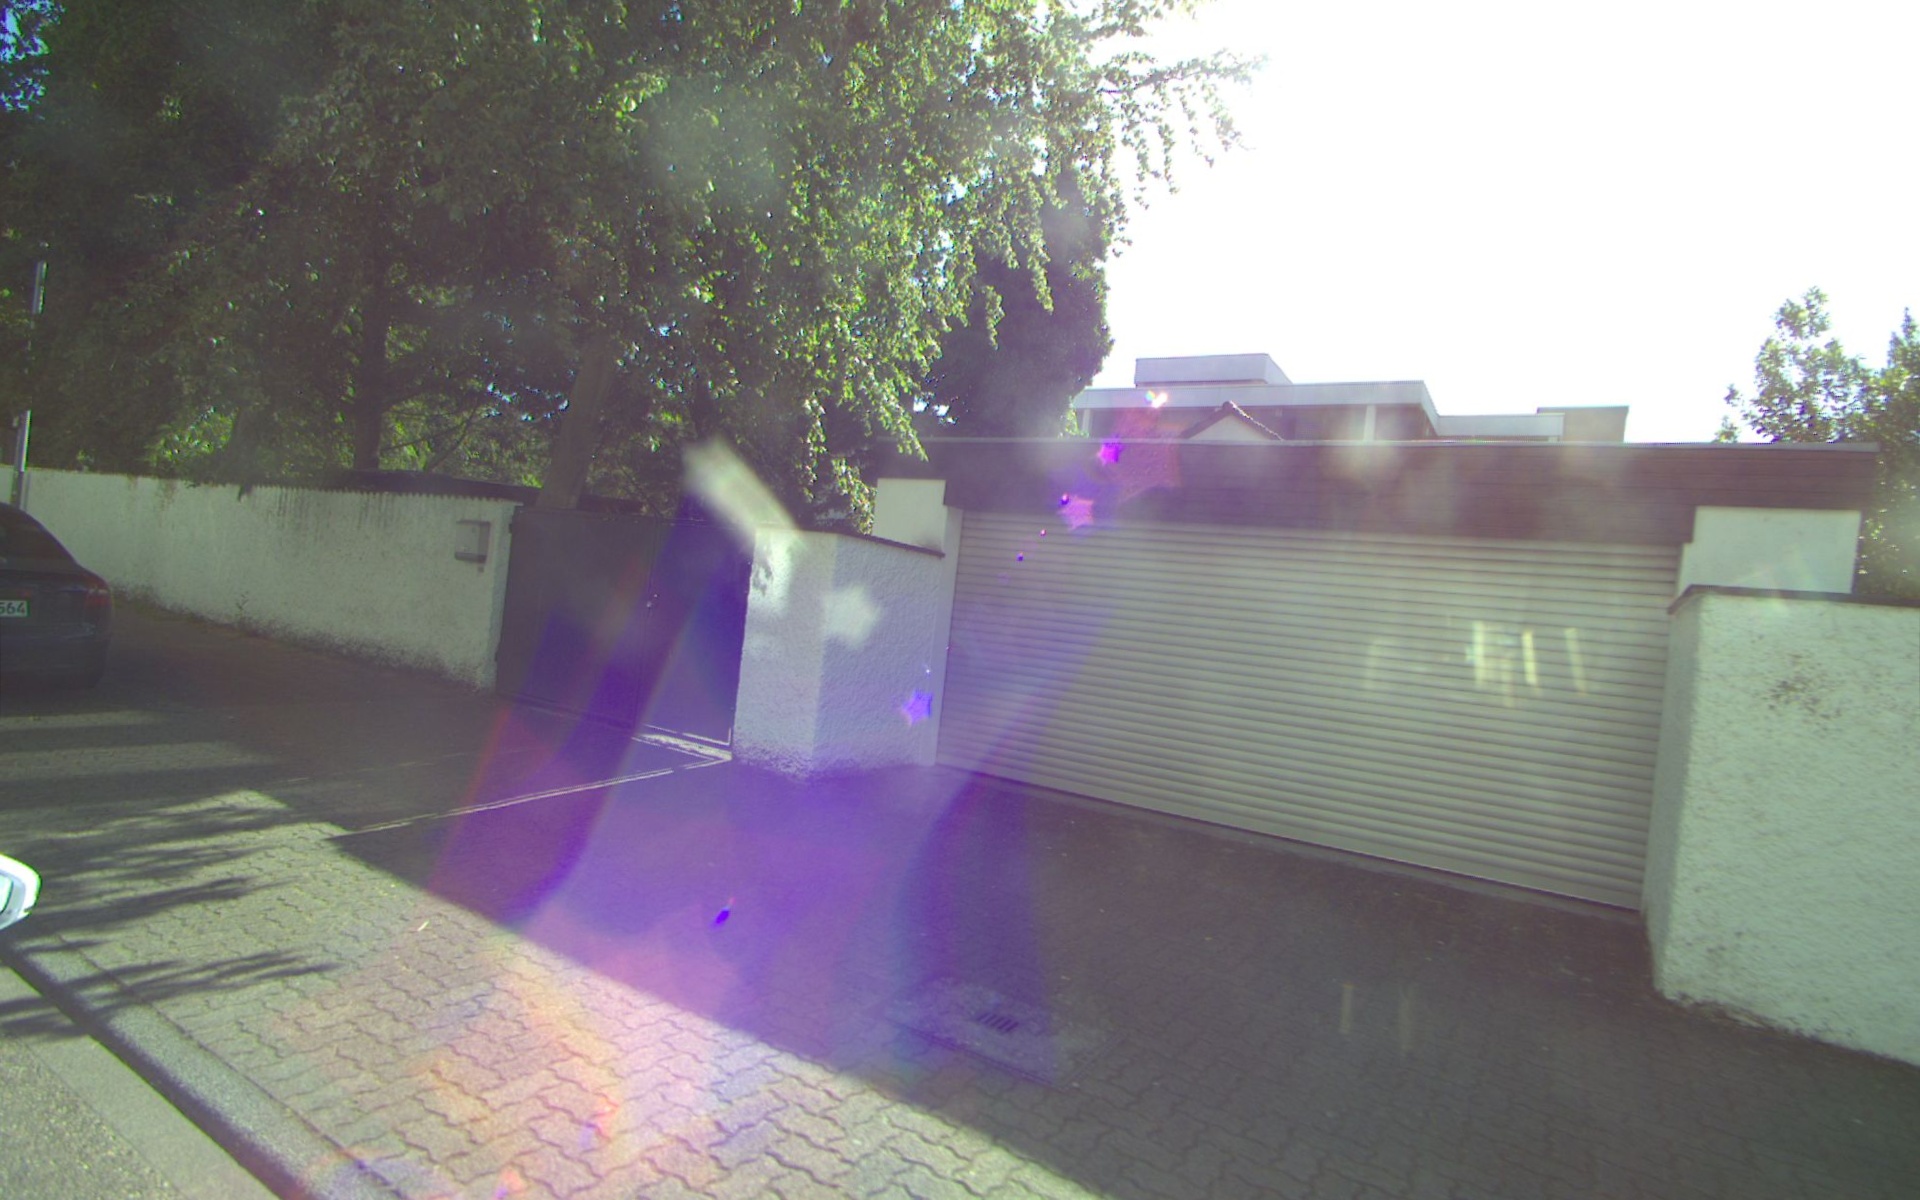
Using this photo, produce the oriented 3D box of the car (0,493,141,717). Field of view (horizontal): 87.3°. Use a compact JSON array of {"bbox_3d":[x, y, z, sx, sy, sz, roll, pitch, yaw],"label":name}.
[{"bbox_3d":[-8.112,-0.147,7.551,4.213,1.443,1.825,6,3,33],"label":"car"}]
